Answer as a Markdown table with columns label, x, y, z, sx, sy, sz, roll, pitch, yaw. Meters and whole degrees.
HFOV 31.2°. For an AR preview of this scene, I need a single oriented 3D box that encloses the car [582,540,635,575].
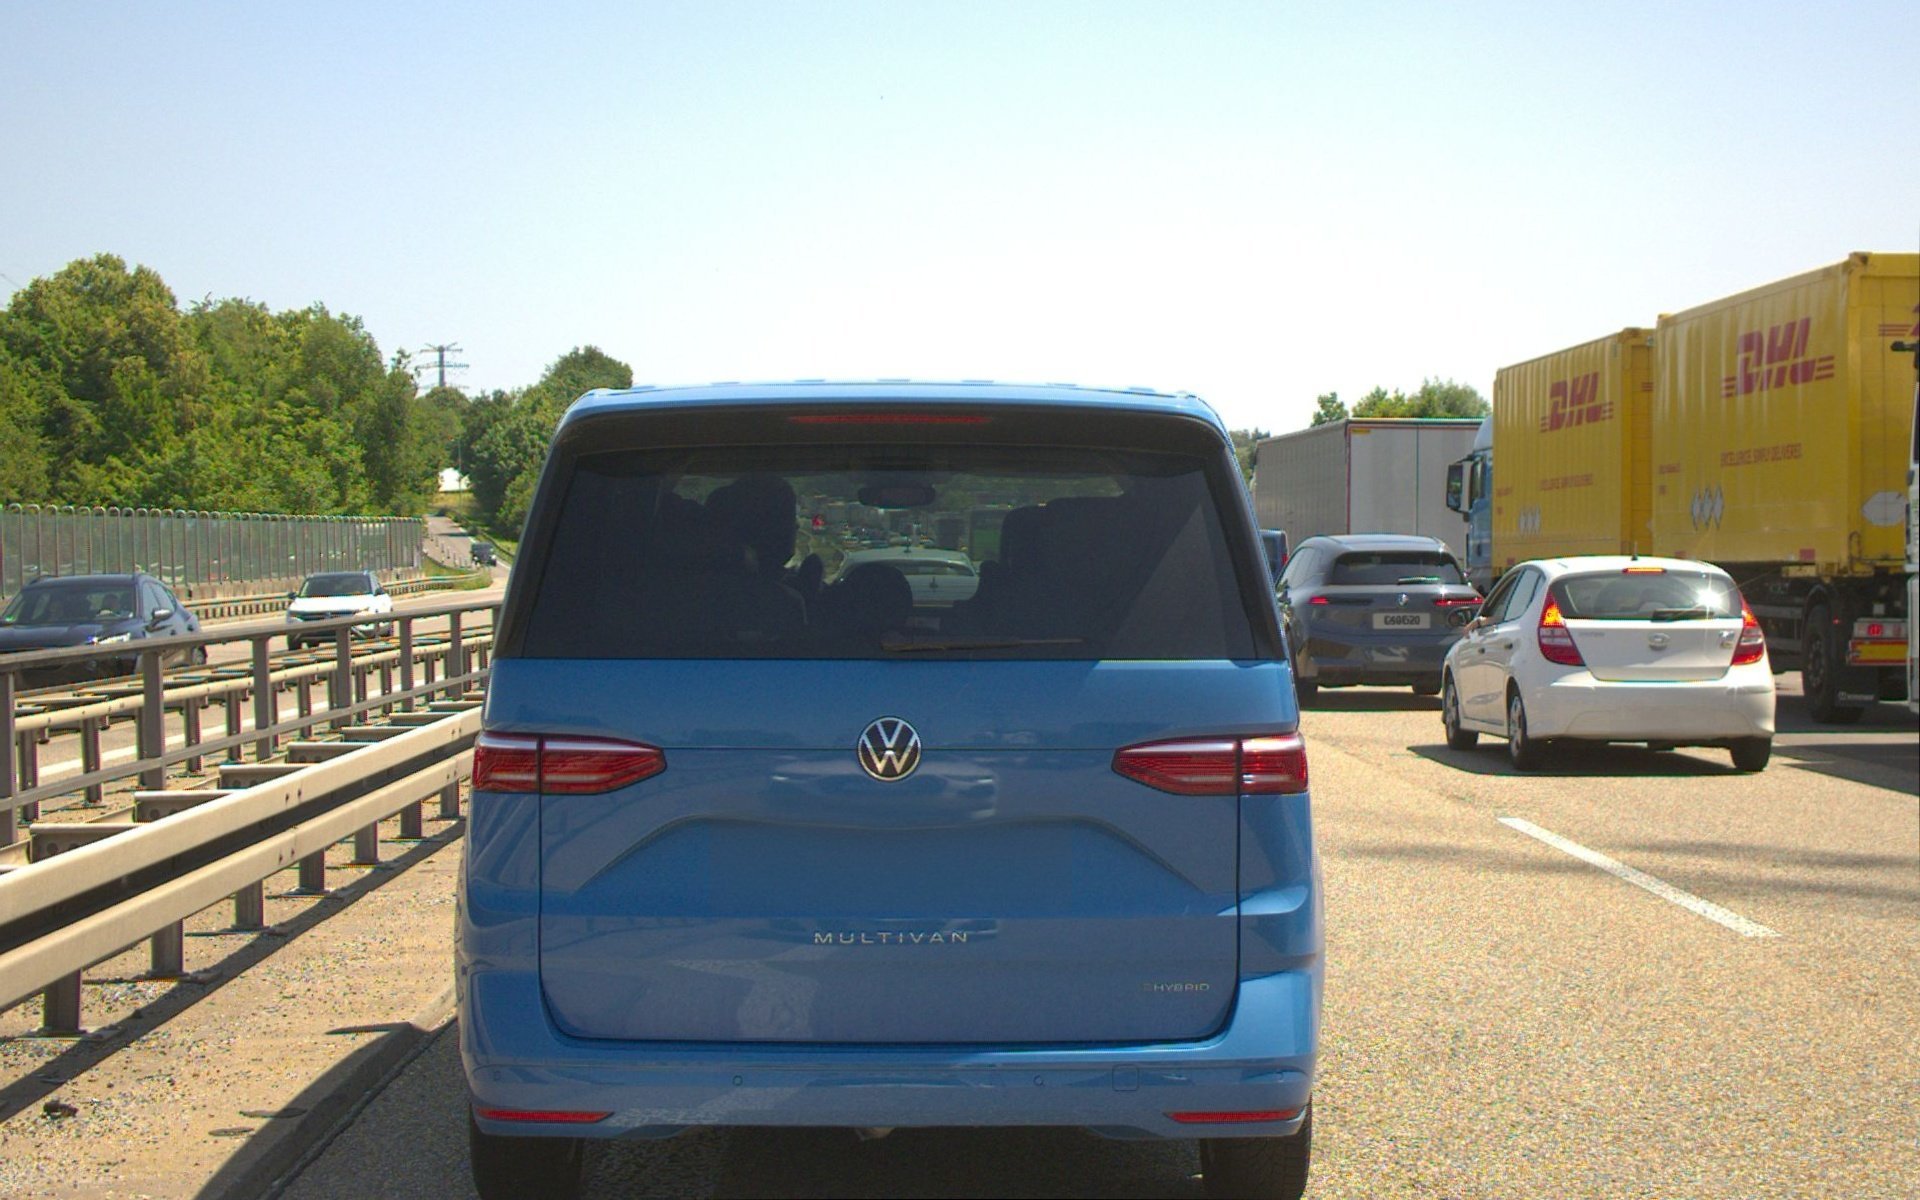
| label | x | y | z | sx | sy | sz | roll | pitch | yaw |
| --- | --- | --- | --- | --- | --- | --- | --- | --- | --- |
| car | -15.474 | -1.872 | 151.499 | 1.871 | 1.437 | 4.386 | -2 | 1 | -1 |

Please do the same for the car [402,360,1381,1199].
| label | x | y | z | sx | sy | sz | roll | pitch | yaw |
| --- | --- | --- | --- | --- | --- | --- | --- | --- | --- |
| car | -0.155 | 0.459 | 8.862 | 1.930 | 1.867 | 4.000 | 1 | 0 | -1 |

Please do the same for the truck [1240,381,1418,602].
| label | x | y | z | sx | sy | sz | roll | pitch | yaw |
| --- | --- | --- | --- | --- | --- | --- | --- | --- | --- |
| truck | 8.065 | -2.303 | 76.092 | 3.026 | 4.595 | 7.921 | 1 | 0 | 0 |

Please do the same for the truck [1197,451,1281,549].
| label | x | y | z | sx | sy | sz | roll | pitch | yaw |
| --- | --- | --- | --- | --- | --- | --- | --- | --- | --- |
| truck | 7.307 | -2.608 | 90.437 | 1.798 | 2.441 | 4.504 | 1 | 0 | 0 |

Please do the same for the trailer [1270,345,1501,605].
| label | x | y | z | sx | sy | sz | roll | pitch | yaw |
| --- | --- | --- | --- | --- | --- | --- | --- | --- | --- |
| trailer | 8.068 | -2.251 | 66.659 | 3.026 | 4.595 | 10.925 | 1 | 0 | 0 |

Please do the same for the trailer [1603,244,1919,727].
| label | x | y | z | sx | sy | sz | roll | pitch | yaw |
| --- | --- | --- | --- | --- | --- | --- | --- | --- | --- |
| trailer | 8.623 | -0.976 | 33.586 | 2.682 | 4.074 | 8.981 | 1 | 0 | -2 |

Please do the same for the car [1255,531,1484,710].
| label | x | y | z | sx | sy | sz | roll | pitch | yaw |
| --- | --- | --- | --- | --- | --- | --- | --- | --- | --- |
| car | 4.068 | 0.187 | 34.697 | 1.815 | 1.673 | 3.932 | 1 | 0 | 0 |

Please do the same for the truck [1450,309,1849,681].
| label | x | y | z | sx | sy | sz | roll | pitch | yaw |
| --- | --- | --- | --- | --- | --- | --- | --- | --- | --- |
| truck | 8.340 | -1.188 | 43.008 | 2.699 | 4.074 | 9.940 | 1 | 0 | -1 |

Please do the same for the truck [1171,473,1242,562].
| label | x | y | z | sx | sy | sz | roll | pitch | yaw |
| --- | --- | --- | --- | --- | --- | --- | --- | --- | --- |
| truck | 7.460 | -2.480 | 104.448 | 1.797 | 2.587 | 4.305 | 1 | 0 | 0 |

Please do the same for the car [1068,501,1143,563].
| label | x | y | z | sx | sy | sz | roll | pitch | yaw |
| --- | --- | --- | --- | --- | --- | --- | --- | --- | --- |
| car | 4.133 | -1.921 | 98.209 | 1.919 | 1.700 | 4.000 | 1 | 0 | -1 |

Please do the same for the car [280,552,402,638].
| label | x | y | z | sx | sy | sz | roll | pitch | yaw |
| --- | --- | --- | --- | --- | --- | --- | --- | --- | --- |
| car | -12.531 | -0.114 | 69.782 | 1.806 | 1.634 | 4.000 | -2 | 0 | -2 |

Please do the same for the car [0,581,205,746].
| label | x | y | z | sx | sy | sz | roll | pitch | yaw |
| --- | --- | --- | --- | --- | --- | --- | --- | --- | --- |
| car | -9.006 | 0.593 | 34.880 | 1.881 | 1.547 | 4.190 | 1 | 0 | -2 |

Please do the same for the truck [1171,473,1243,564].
| label | x | y | z | sx | sy | sz | roll | pitch | yaw |
| --- | --- | --- | --- | --- | --- | --- | --- | --- | --- |
| truck | 7.112 | -2.326 | 99.252 | 1.742 | 2.540 | 4.210 | 1 | 0 | 0 |

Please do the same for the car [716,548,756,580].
| label | x | y | z | sx | sy | sz | roll | pitch | yaw |
| --- | --- | --- | --- | --- | --- | --- | --- | --- | --- |
| car | -12.312 | -1.982 | 188.844 | 1.871 | 1.524 | 3.609 | -6 | 1 | -1 |

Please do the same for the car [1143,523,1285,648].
| label | x | y | z | sx | sy | sz | roll | pitch | yaw |
| --- | --- | --- | --- | --- | --- | --- | --- | --- | --- |
| car | 4.103 | -0.237 | 56.094 | 1.962 | 1.929 | 3.932 | 1 | 0 | -1 |

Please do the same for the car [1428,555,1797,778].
| label | x | y | z | sx | sy | sz | roll | pitch | yaw |
| --- | --- | --- | --- | --- | --- | --- | --- | --- | --- |
| car | 4.618 | 0.433 | 24.892 | 1.815 | 1.465 | 3.932 | 1 | 0 | -1 |

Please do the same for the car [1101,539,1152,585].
| label | x | y | z | sx | sy | sz | roll | pitch | yaw |
| --- | --- | --- | --- | --- | --- | --- | --- | --- | --- |
| car | 6.537 | -1.490 | 135.170 | 1.797 | 1.745 | 3.943 | 1 | 0 | 0 |

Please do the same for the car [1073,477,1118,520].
| label | x | y | z | sx | sy | sz | roll | pitch | yaw |
| --- | --- | --- | --- | --- | --- | --- | --- | --- | --- |
| car | 5.938 | -4.432 | 150.810 | 1.797 | 1.745 | 3.943 | 1 | 0 | 0 |

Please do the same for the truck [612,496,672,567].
| label | x | y | z | sx | sy | sz | roll | pitch | yaw |
| --- | --- | --- | --- | --- | --- | --- | --- | --- | --- |
| truck | -20.238 | -4.312 | 218.961 | 2.929 | 4.279 | 6.858 | -3 | 0 | 1 |

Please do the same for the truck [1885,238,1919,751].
| label | x | y | z | sx | sy | sz | roll | pitch | yaw |
| --- | --- | --- | --- | --- | --- | --- | --- | --- | --- |
| truck | 8.818 | -0.769 | 21.780 | 2.852 | 3.921 | 10.610 | 1 | 0 | -1 |
